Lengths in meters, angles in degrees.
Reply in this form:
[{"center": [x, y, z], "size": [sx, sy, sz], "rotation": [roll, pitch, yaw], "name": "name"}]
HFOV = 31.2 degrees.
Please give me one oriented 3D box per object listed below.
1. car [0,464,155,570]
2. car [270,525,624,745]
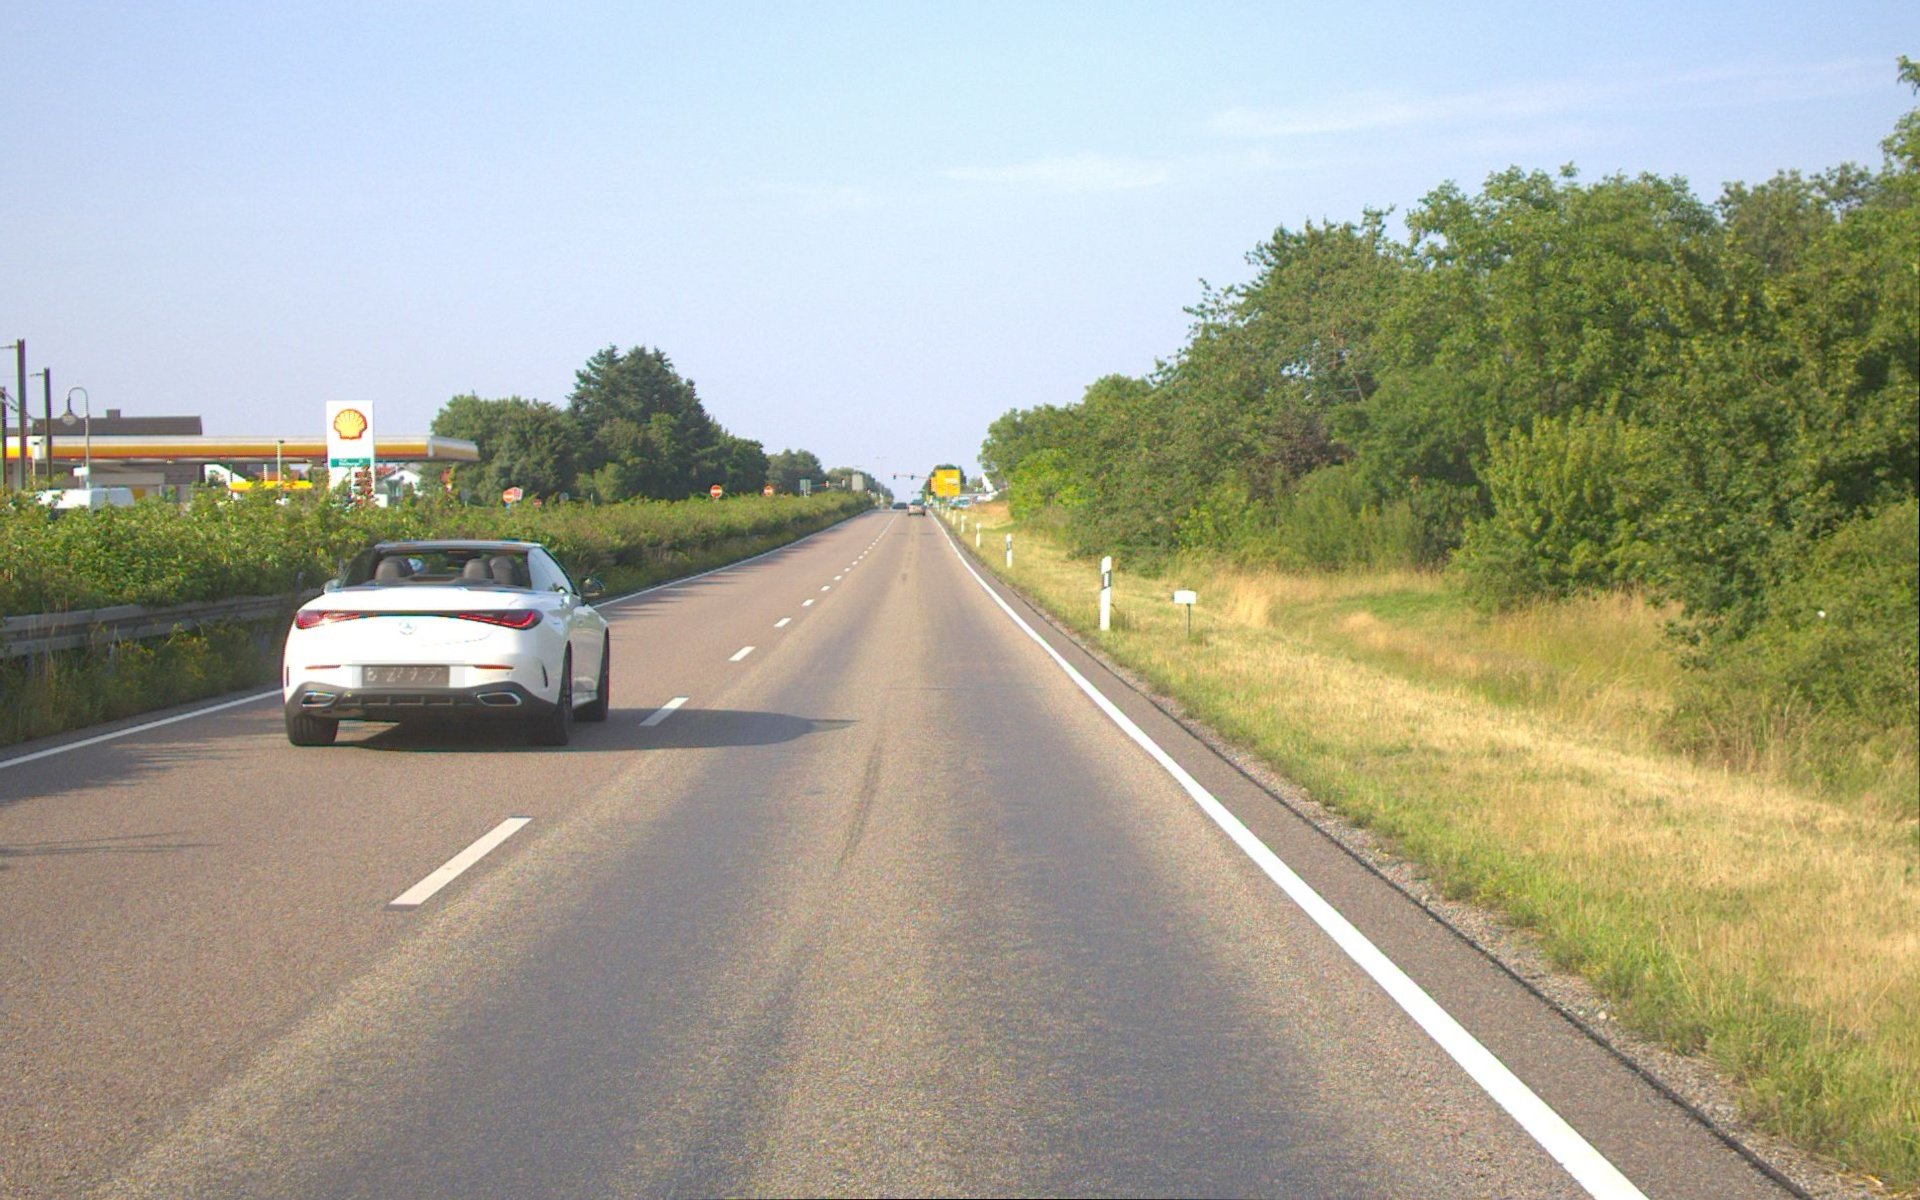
[{"center": [-17.601, -1.670, 68.630], "size": [1.993, 2.007, 4.872], "rotation": [1, 1, -1], "name": "car"}, {"center": [-3.482, 0.167, 24.184], "size": [1.771, 1.333, 4.950], "rotation": [1, 2, 0], "name": "car"}]
